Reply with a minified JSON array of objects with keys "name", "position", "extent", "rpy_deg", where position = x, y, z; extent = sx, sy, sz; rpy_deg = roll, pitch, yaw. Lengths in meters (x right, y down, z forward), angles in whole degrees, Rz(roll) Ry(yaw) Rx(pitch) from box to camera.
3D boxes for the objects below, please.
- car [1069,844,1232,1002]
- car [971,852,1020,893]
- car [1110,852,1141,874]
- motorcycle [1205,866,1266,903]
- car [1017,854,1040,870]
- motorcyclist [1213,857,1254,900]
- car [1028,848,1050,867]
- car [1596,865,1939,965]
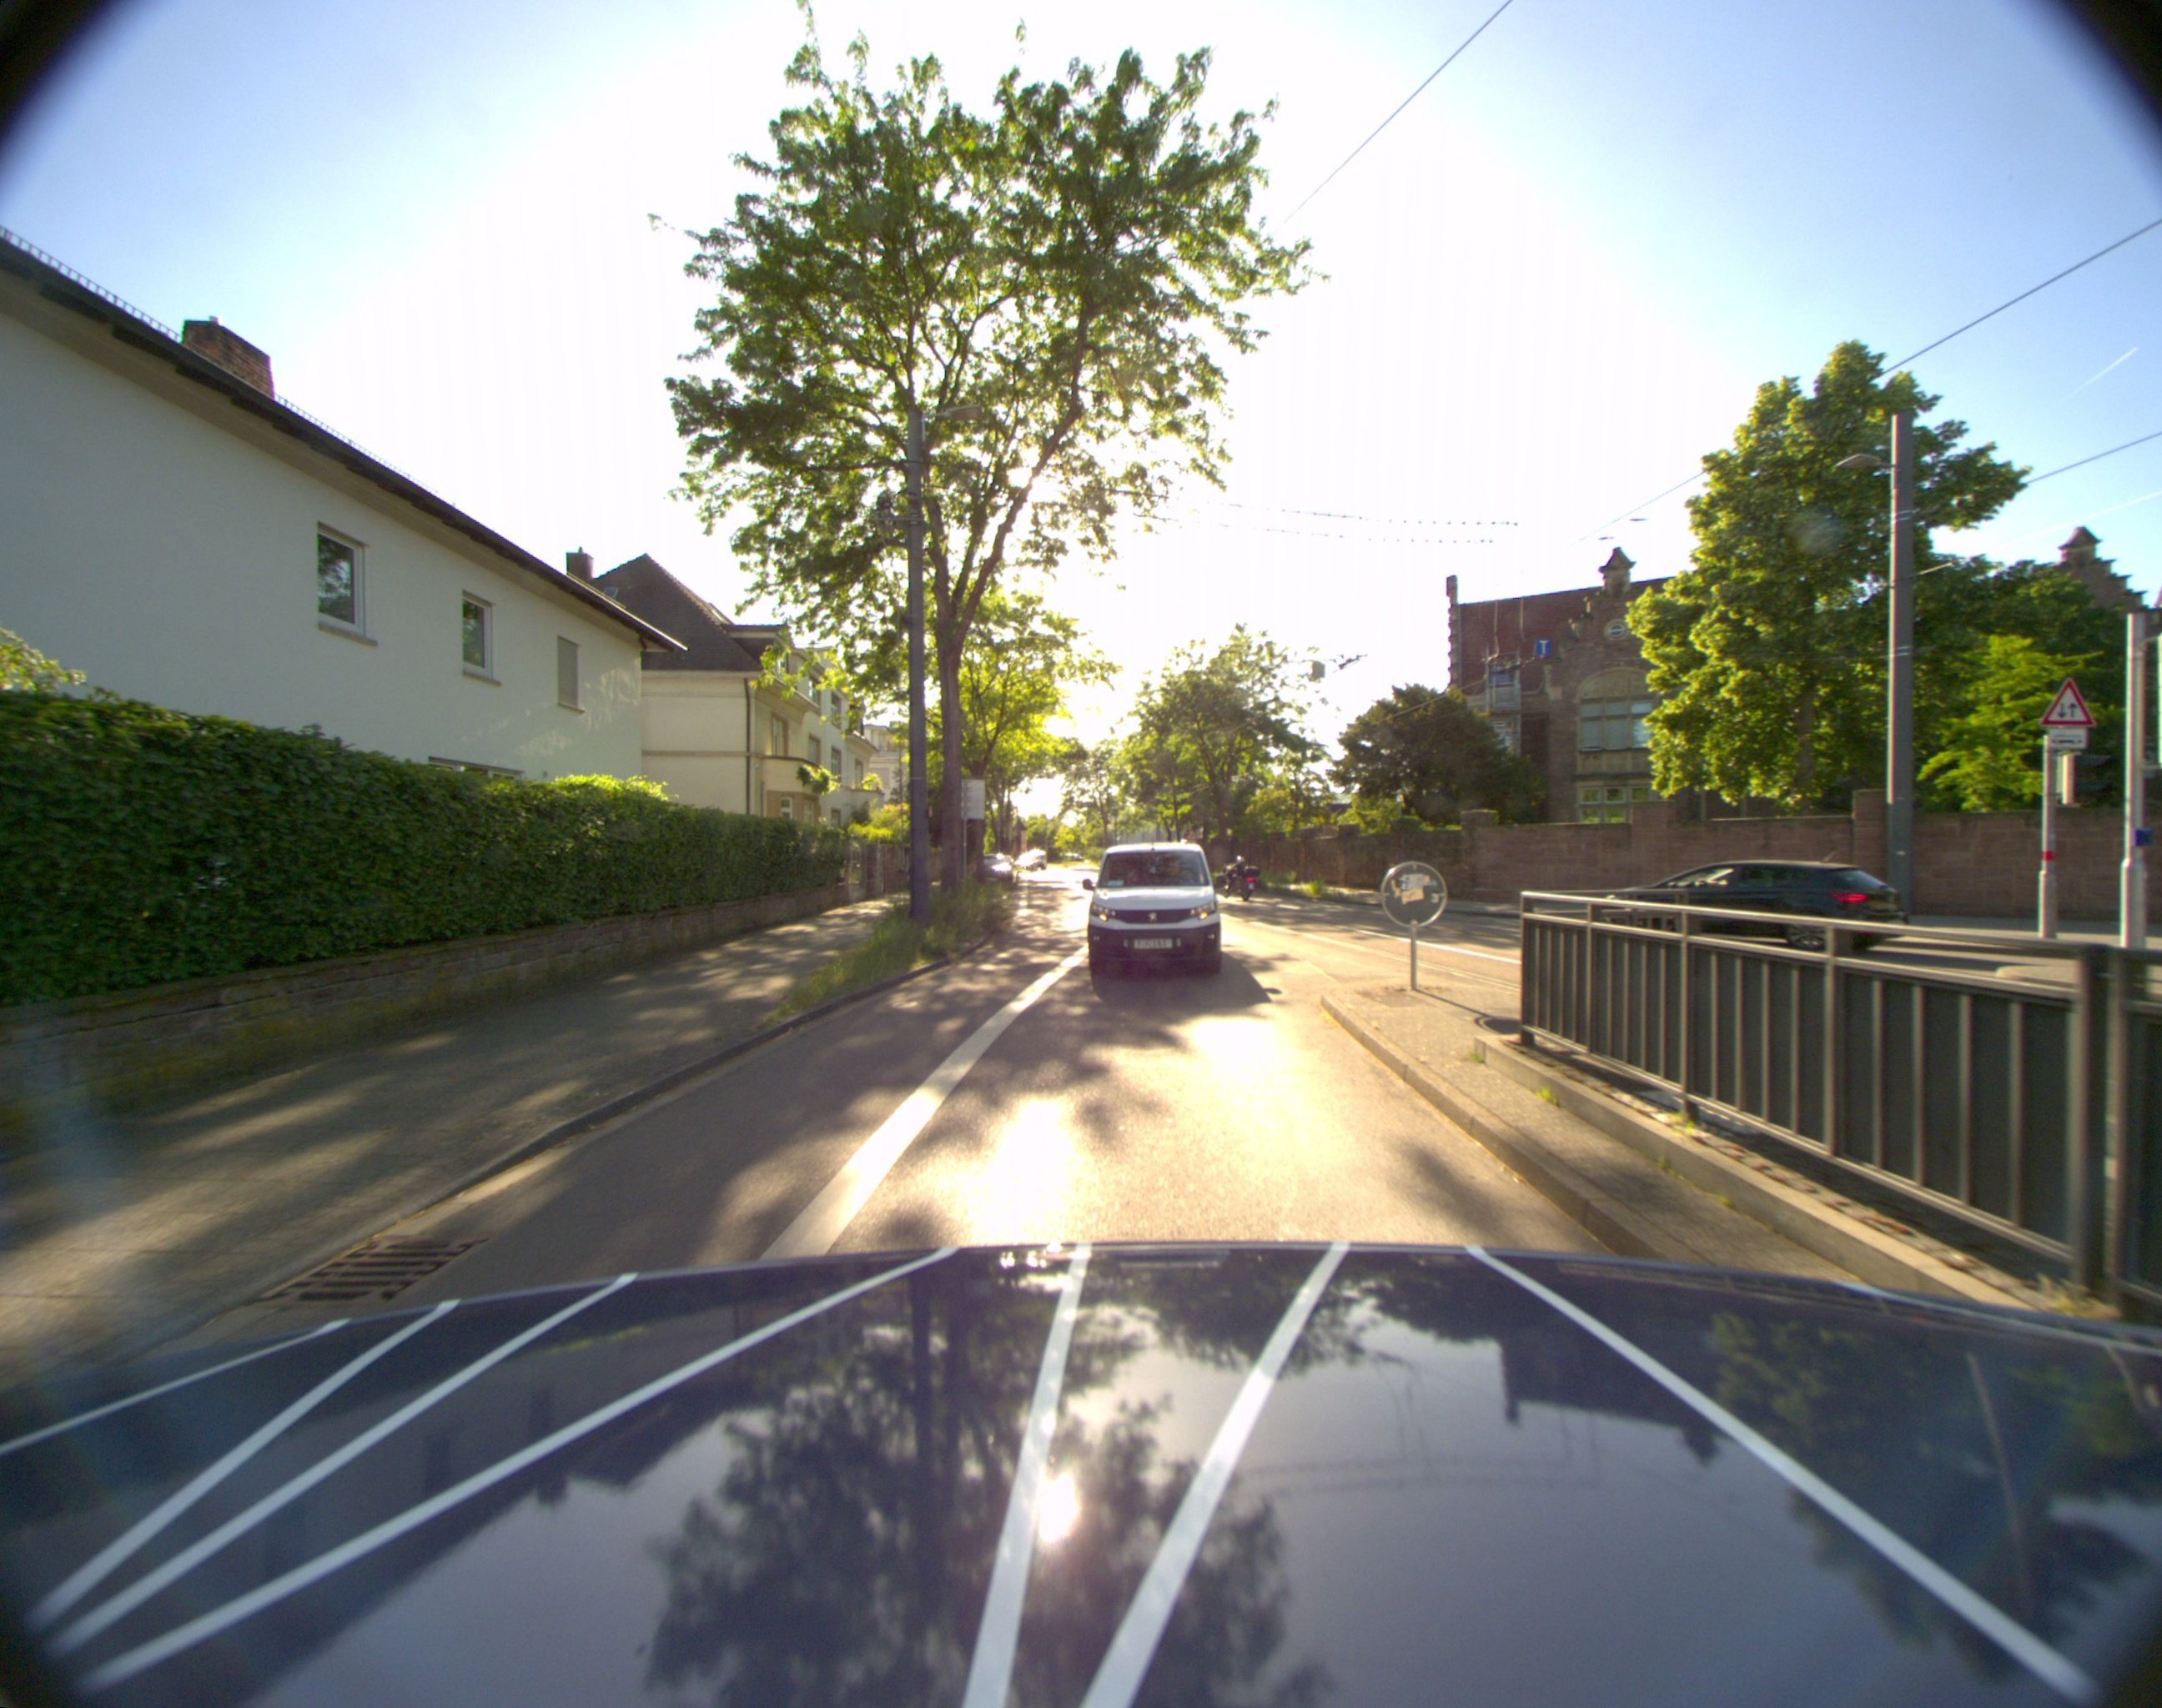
[{"name":"car","position":[0.958,0.782,11.043],"extent":[1.831,1.788,4.335],"rpy_deg":[-2,1,4]},{"name":"car","position":[-3.955,0.805,35.824],"extent":[1.999,1.733,4.169],"rpy_deg":[-1,1,-3]},{"name":"car","position":[3.402,0.649,58.488],"extent":[1.801,1.628,4.117],"rpy_deg":[1,0,-5]},{"name":"motorcycle","position":[5.695,1.099,28.172],"extent":[1.134,1.236,2.569],"rpy_deg":[-1,1,-17]},{"name":"car","position":[-4.795,0.693,69.849],"extent":[1.719,1.332,3.917],"rpy_deg":[-1,1,1]},{"name":"motorcyclist","position":[5.670,0.883,28.257],"extent":[1.129,1.516,1.053],"rpy_deg":[-1,1,-17]},{"name":"car","position":[-4.177,0.354,76.234],"extent":[1.904,1.819,4.248],"rpy_deg":[-1,1,2]},{"name":"car","position":[11.500,0.900,13.089],"extent":[1.863,1.395,3.975],"rpy_deg":[0,0,-24]}]
